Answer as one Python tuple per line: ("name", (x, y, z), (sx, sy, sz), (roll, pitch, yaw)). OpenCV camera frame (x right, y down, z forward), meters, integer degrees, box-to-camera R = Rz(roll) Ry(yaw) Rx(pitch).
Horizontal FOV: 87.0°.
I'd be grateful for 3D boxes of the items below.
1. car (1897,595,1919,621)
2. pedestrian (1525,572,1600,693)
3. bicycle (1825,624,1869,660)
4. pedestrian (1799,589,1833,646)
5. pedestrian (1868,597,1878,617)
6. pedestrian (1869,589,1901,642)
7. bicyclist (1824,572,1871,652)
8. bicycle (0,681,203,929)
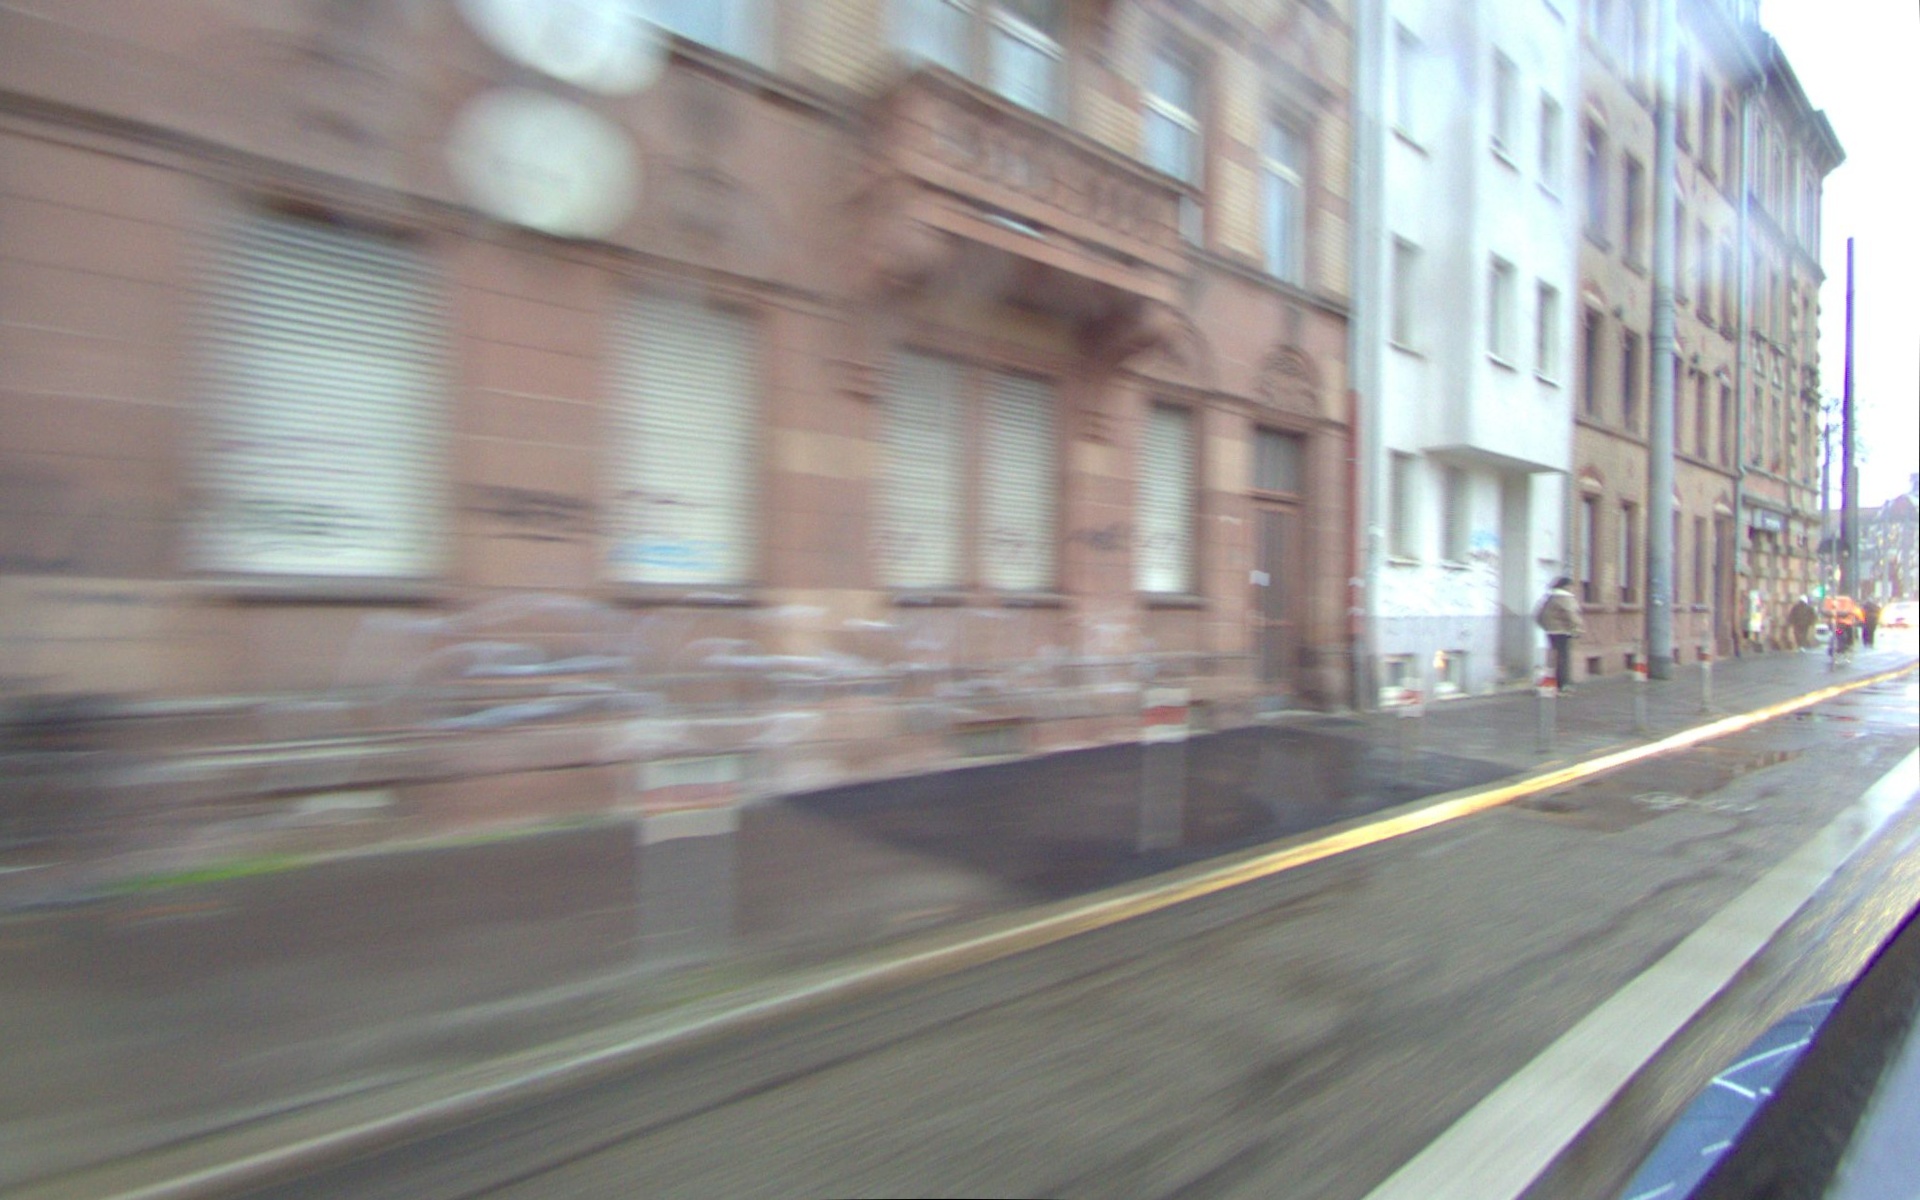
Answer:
("car", (71.988, 0.592, 75.587), (4.778, 1.861, 2.000), (0, 0, -35))
("pedestrian", (9.073, 0.469, 15.250), (0.661, 1.766, 0.777), (0, 1, -40))
("bicycle", (21.667, 1.016, 24.709), (1.829, 0.770, 0.609), (0, 1, -43))
("pedestrian", (24.034, 0.470, 28.406), (0.698, 1.568, 0.633), (0, 0, -42))
("pedestrian", (81.165, 0.613, 89.979), (0.635, 1.784, 0.504), (0, 0, 37))
("pedestrian", (33.125, 0.545, 36.235), (0.697, 1.848, 0.753), (0, 0, -38))
("bicyclist", (21.687, 0.277, 24.722), (1.093, 1.903, 0.746), (0, 1, -43))
("bicycle", (-4.160, 0.846, 4.009), (1.834, 0.922, 0.398), (0, 1, -41))
